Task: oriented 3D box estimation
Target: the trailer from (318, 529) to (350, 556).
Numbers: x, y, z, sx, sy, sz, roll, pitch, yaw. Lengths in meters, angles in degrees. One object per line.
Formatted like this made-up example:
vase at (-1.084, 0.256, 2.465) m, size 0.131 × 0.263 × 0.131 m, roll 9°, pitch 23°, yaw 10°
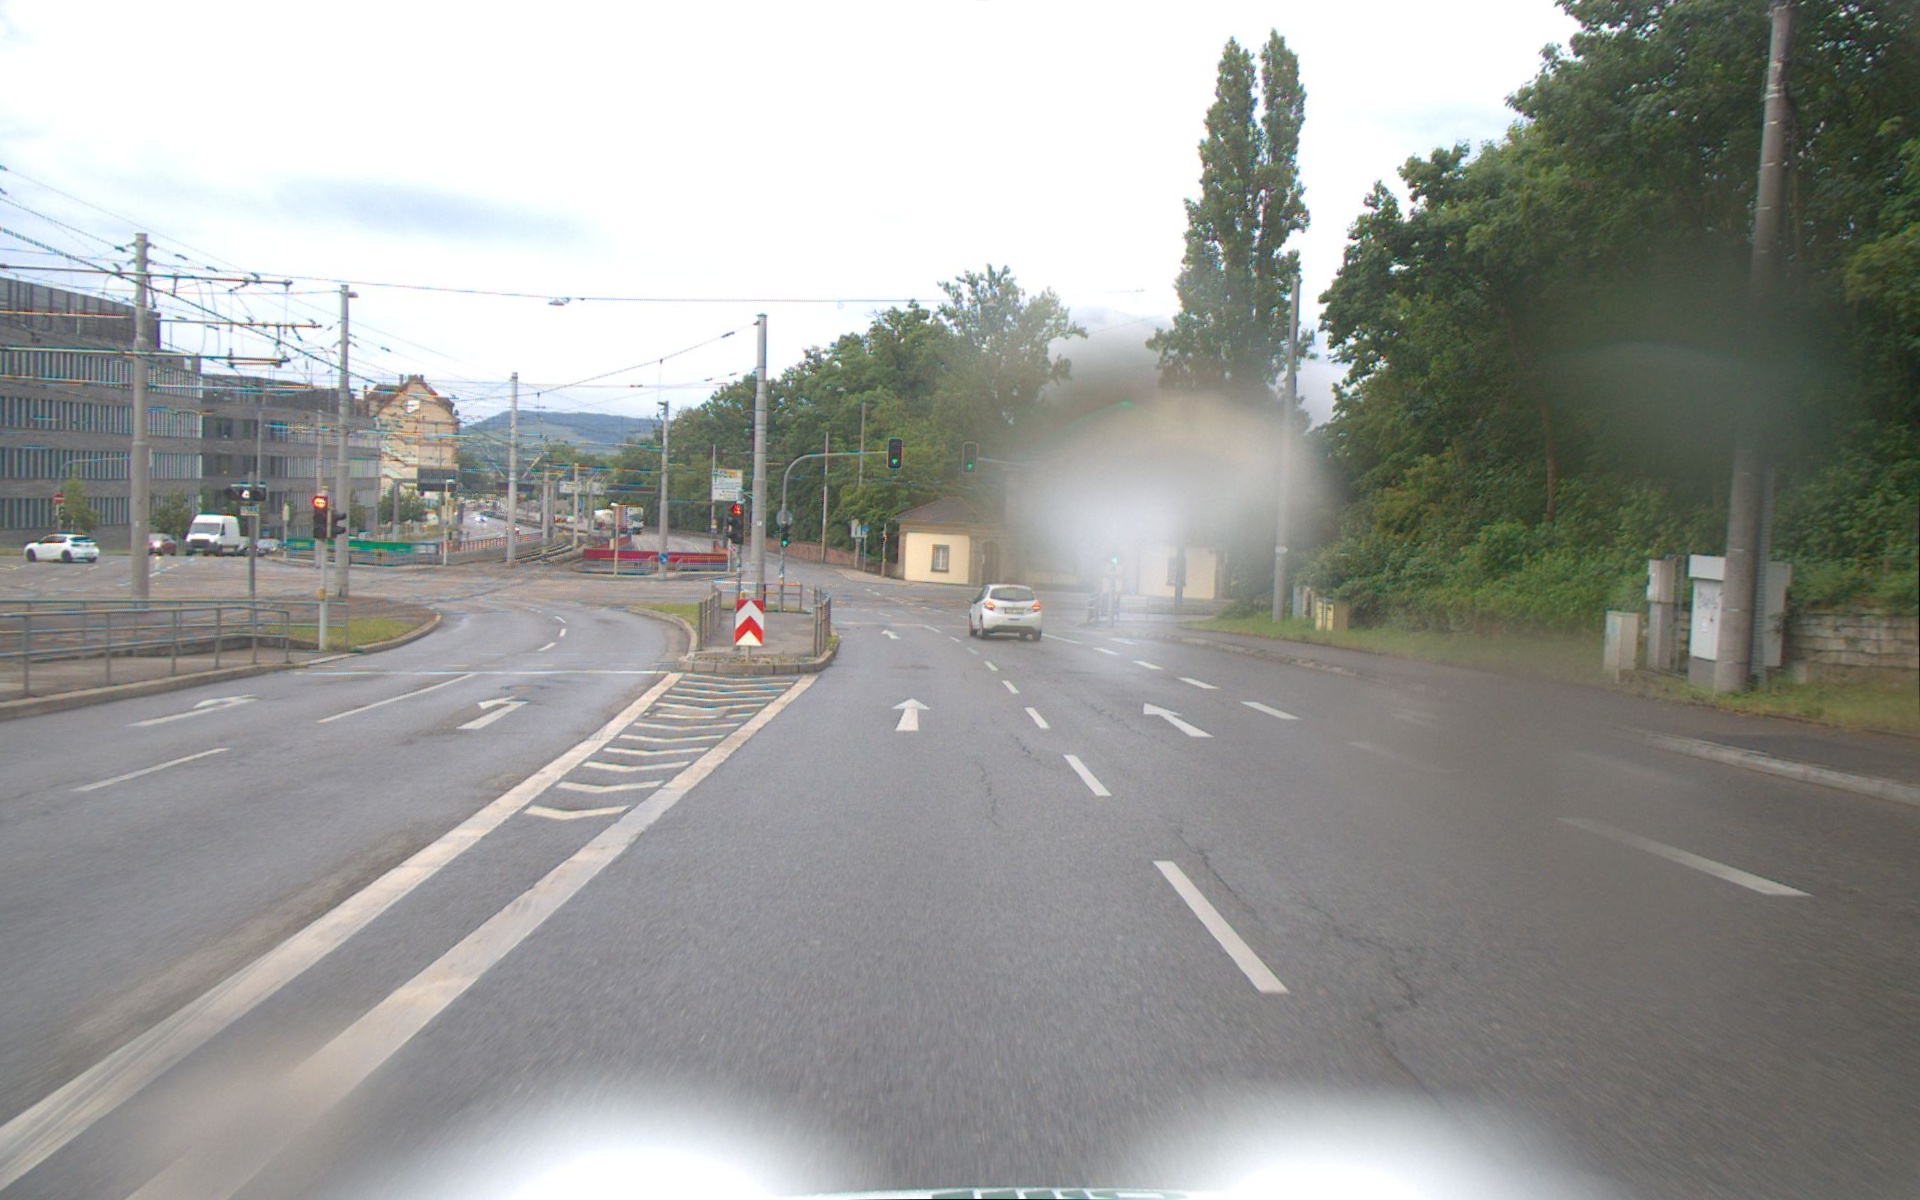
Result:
trailer at (-54.449, -5.001, 143.942) m, size 1.792 × 2.110 × 4.264 m, roll 2°, pitch -1°, yaw -10°

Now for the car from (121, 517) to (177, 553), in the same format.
car at (-51.168, -4.082, 104.407) m, size 1.957 × 2.190 × 4.239 m, roll 1°, pitch 1°, yaw -9°

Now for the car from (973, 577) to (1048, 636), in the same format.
car at (1.357, 0.183, 45.857) m, size 1.915 × 1.514 × 3.999 m, roll 1°, pitch -1°, yaw 0°

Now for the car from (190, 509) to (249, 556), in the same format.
car at (-47.109, -4.300, 105.286) m, size 1.957 × 2.880 × 5.706 m, roll -1°, pitch 2°, yaw -9°

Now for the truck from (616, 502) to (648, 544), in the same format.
truck at (-48.482, -11.325, 244.436) m, size 3.409 × 5.495 × 11.996 m, roll 2°, pitch -1°, yaw -17°

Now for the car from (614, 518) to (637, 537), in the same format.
car at (-35.053, -7.568, 173.363) m, size 1.963 × 1.905 × 3.981 m, roll 0°, pitch 2°, yaw -18°

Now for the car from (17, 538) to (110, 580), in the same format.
car at (-47.168, -2.161, 87.036) m, size 3.902 × 2.049 × 2.001 m, roll 1°, pitch -1°, yaw 15°

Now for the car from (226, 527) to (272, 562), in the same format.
car at (-49.546, -3.819, 115.328) m, size 1.957 × 2.191 × 4.238 m, roll 1°, pitch -1°, yaw -9°
